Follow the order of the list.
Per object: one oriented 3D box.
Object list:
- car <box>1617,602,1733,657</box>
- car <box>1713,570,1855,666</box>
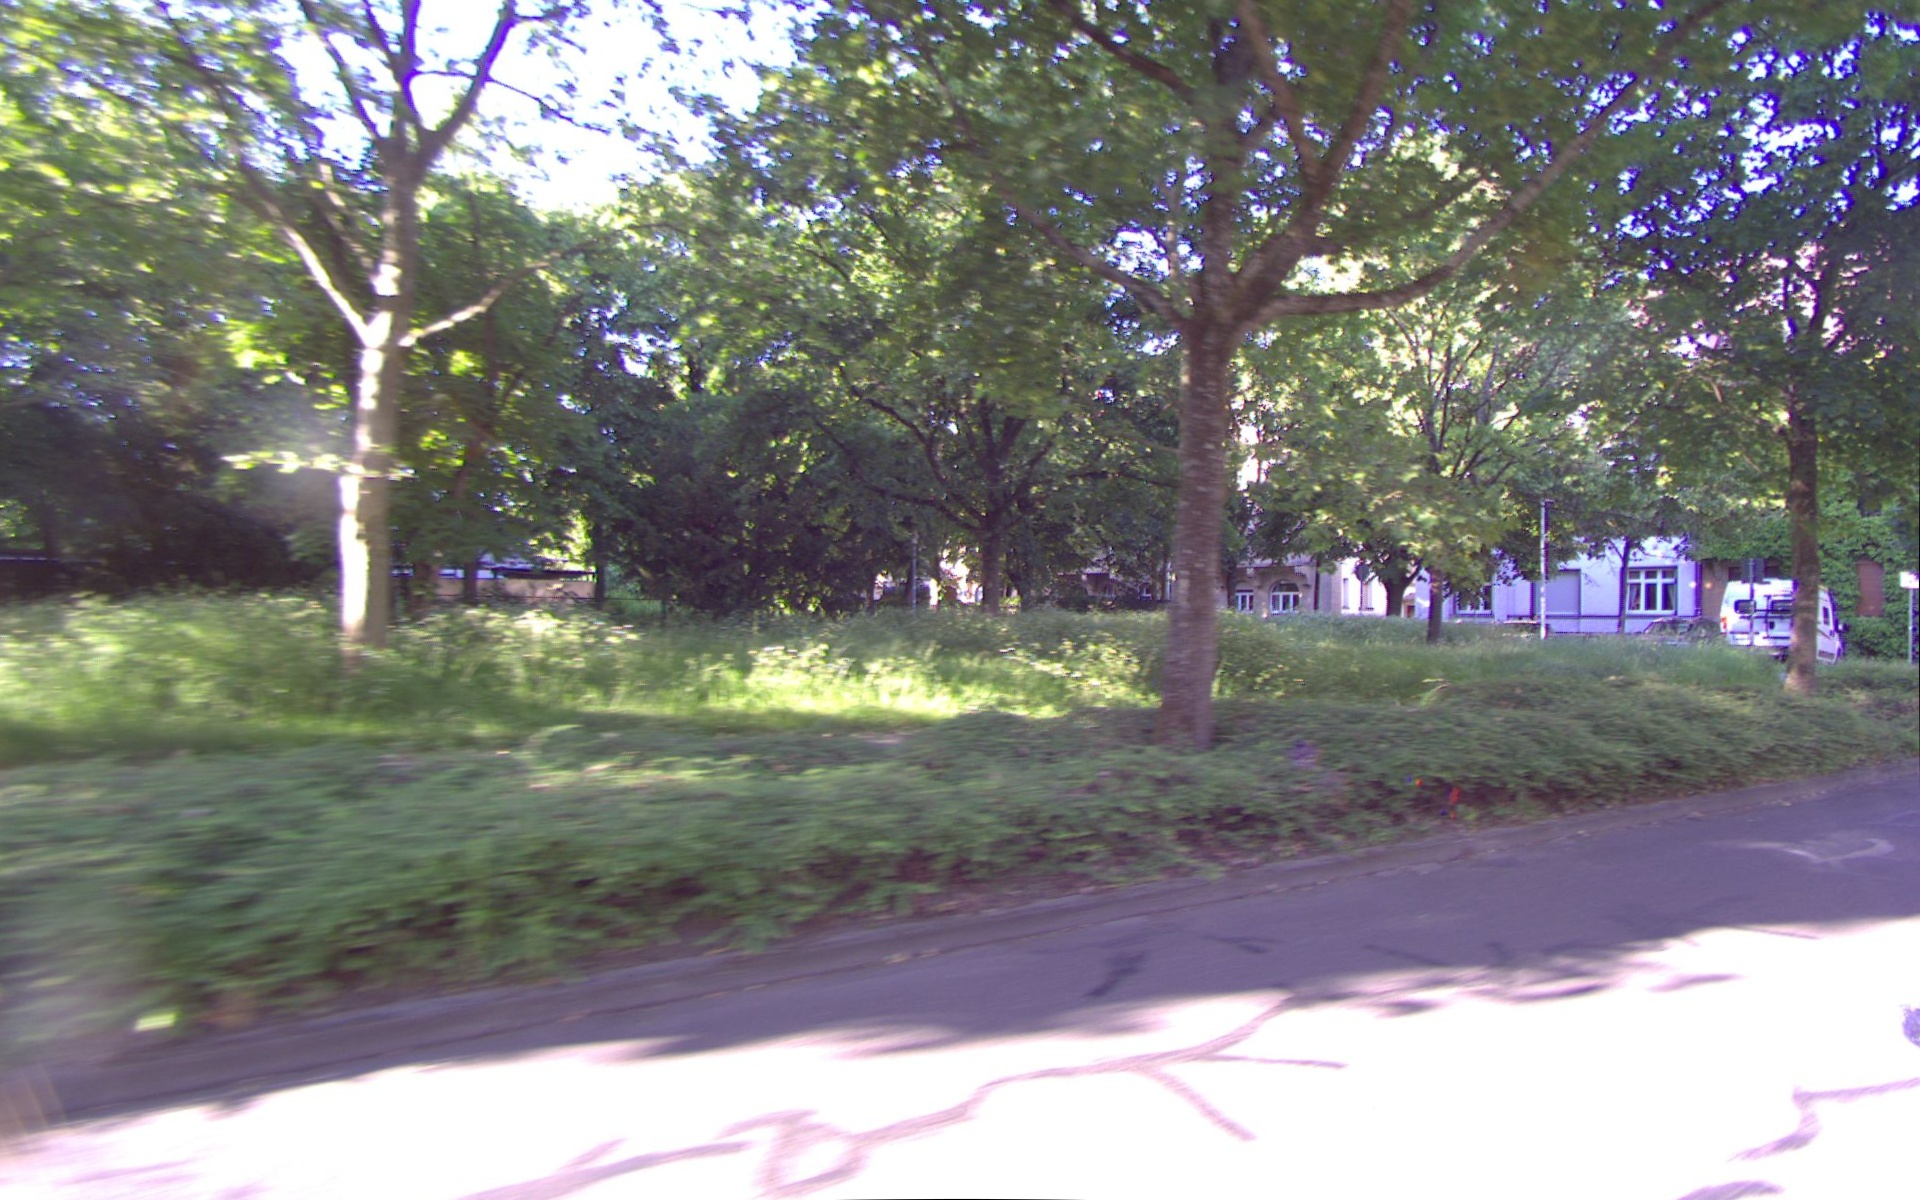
[{"bbox_3d":[22.838,0.938,32.038,4.263,1.596,1.956,2,0,-39],"label":"car"},{"bbox_3d":[24.862,0.542,30.245,5.584,2.649,2.213,2,0,-39],"label":"car"}]
